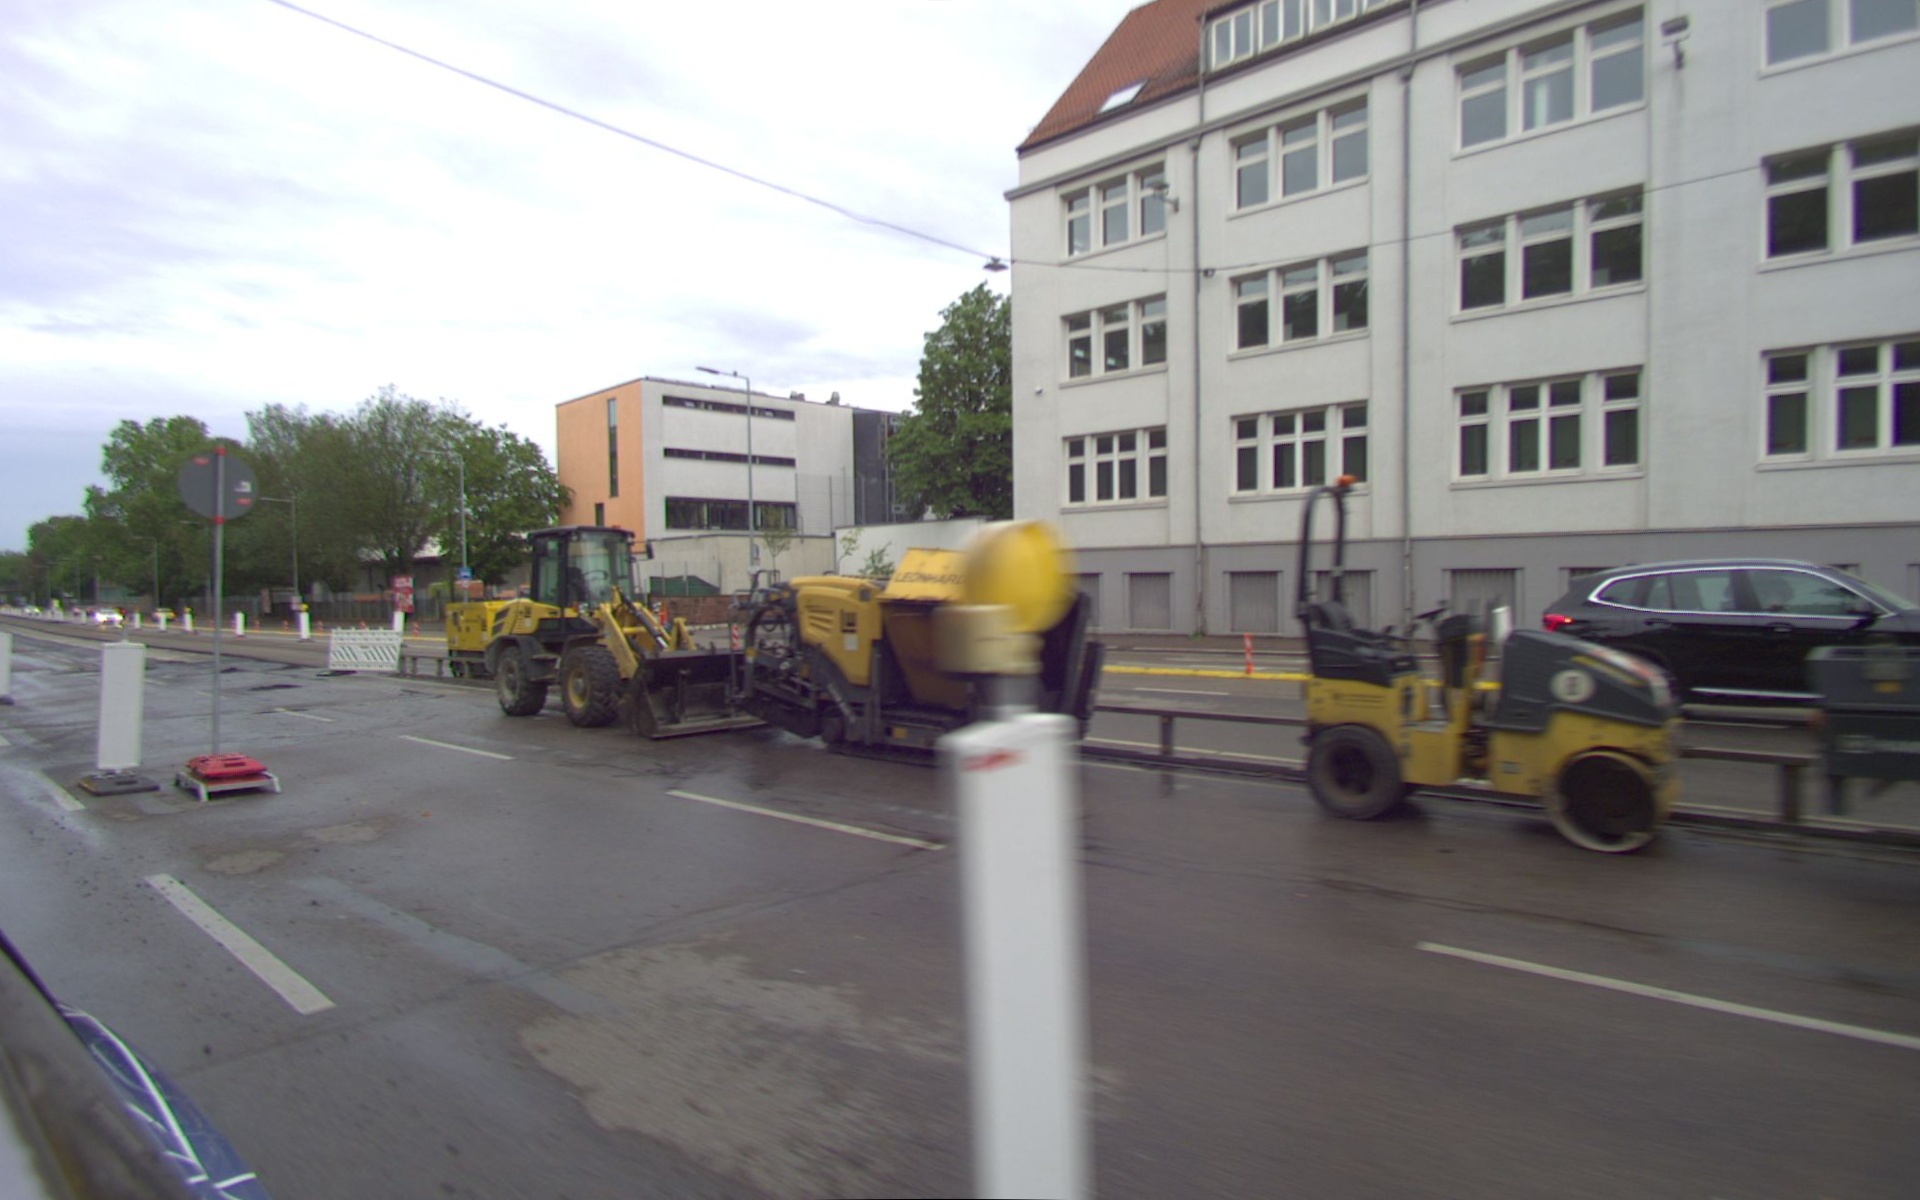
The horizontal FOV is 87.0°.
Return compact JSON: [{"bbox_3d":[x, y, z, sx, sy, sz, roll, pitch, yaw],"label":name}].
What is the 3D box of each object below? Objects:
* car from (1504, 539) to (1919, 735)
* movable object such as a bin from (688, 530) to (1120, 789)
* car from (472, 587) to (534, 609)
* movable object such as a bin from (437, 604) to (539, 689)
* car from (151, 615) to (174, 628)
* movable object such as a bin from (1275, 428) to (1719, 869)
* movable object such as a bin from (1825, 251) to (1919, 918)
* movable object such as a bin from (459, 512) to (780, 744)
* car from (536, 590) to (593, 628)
[{"bbox_3d":[8.493,0.304,10.142,4.986,1.718,1.971,-2,1,44],"label":"car"},{"bbox_3d":[-0.842,0.517,10.473,5.030,2.106,1.347,-1,0,44],"label":"movable object such as a bin"},{"bbox_3d":[-35.369,-0.186,78.461,3.959,1.539,2.004,-2,1,-8],"label":"car"},{"bbox_3d":[-9.957,0.934,21.290,2.439,1.657,1.072,-1,1,43],"label":"movable object such as a bin"},{"bbox_3d":[-88.395,2.410,112.148,3.805,1.378,1.536,-1,-1,43],"label":"car"},{"bbox_3d":[3.592,0.290,6.884,2.404,2.419,1.396,-1,-2,41],"label":"movable object such as a bin"},{"bbox_3d":[5.995,-0.096,4.087,3.723,3.031,1.450,-2,-2,42],"label":"movable object such as a bin"},{"bbox_3d":[-4.894,0.351,13.988,5.383,2.629,1.881,-1,0,44],"label":"movable object such as a bin"},{"bbox_3d":[-23.801,0.531,60.838,4.000,2.186,1.592,-1,1,43],"label":"car"}]
